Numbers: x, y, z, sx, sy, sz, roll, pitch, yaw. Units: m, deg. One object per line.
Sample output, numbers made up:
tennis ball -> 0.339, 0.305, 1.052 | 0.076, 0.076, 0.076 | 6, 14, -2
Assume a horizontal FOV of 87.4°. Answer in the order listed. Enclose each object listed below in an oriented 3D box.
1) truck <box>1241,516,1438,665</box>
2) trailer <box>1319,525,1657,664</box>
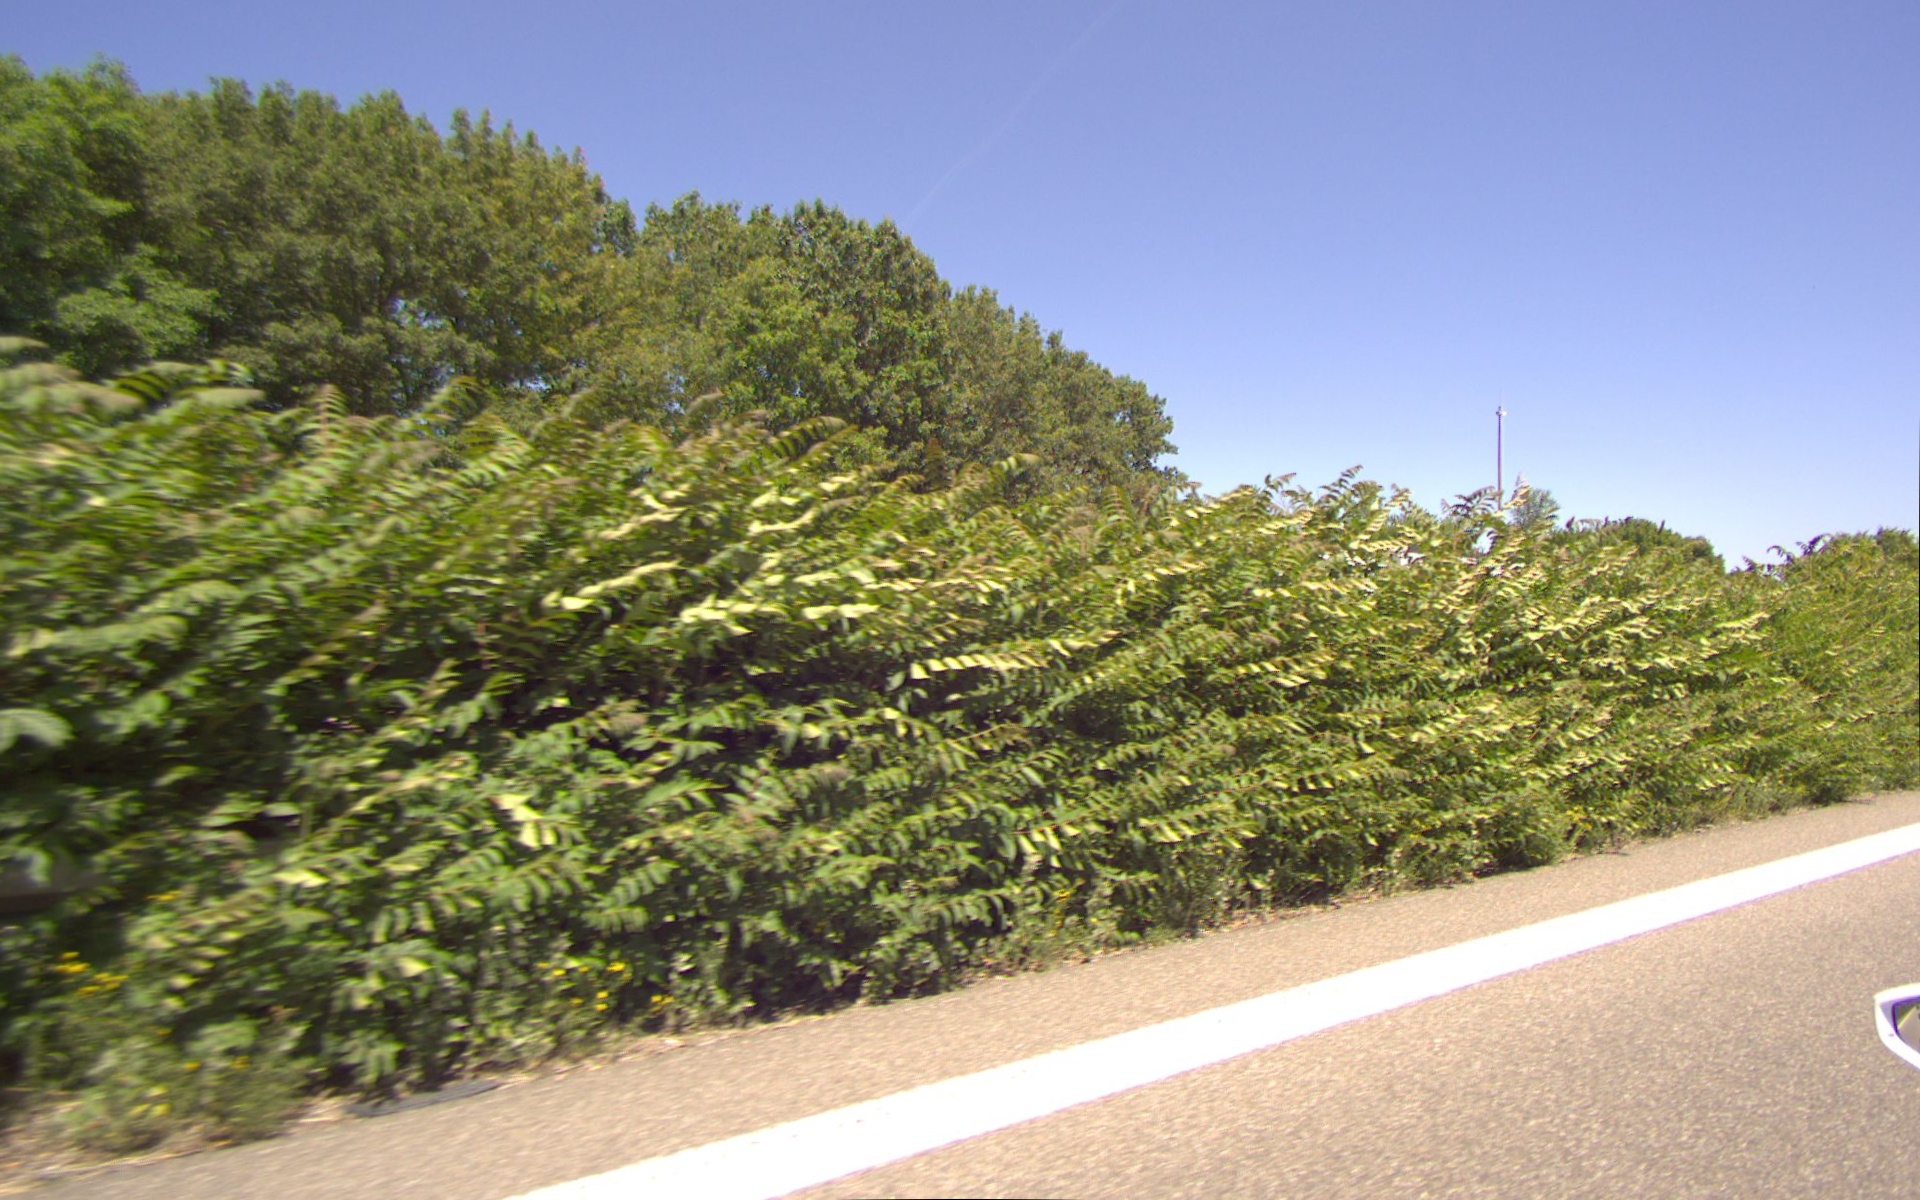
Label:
truck -> 10.098, -0.183, 26.760 | 4.176, 3.605, 2.948 | 1, 0, -32
trailer -> 16.625, 0.011, 30.906 | 13.285, 3.617, 2.947 | 2, -1, -32
